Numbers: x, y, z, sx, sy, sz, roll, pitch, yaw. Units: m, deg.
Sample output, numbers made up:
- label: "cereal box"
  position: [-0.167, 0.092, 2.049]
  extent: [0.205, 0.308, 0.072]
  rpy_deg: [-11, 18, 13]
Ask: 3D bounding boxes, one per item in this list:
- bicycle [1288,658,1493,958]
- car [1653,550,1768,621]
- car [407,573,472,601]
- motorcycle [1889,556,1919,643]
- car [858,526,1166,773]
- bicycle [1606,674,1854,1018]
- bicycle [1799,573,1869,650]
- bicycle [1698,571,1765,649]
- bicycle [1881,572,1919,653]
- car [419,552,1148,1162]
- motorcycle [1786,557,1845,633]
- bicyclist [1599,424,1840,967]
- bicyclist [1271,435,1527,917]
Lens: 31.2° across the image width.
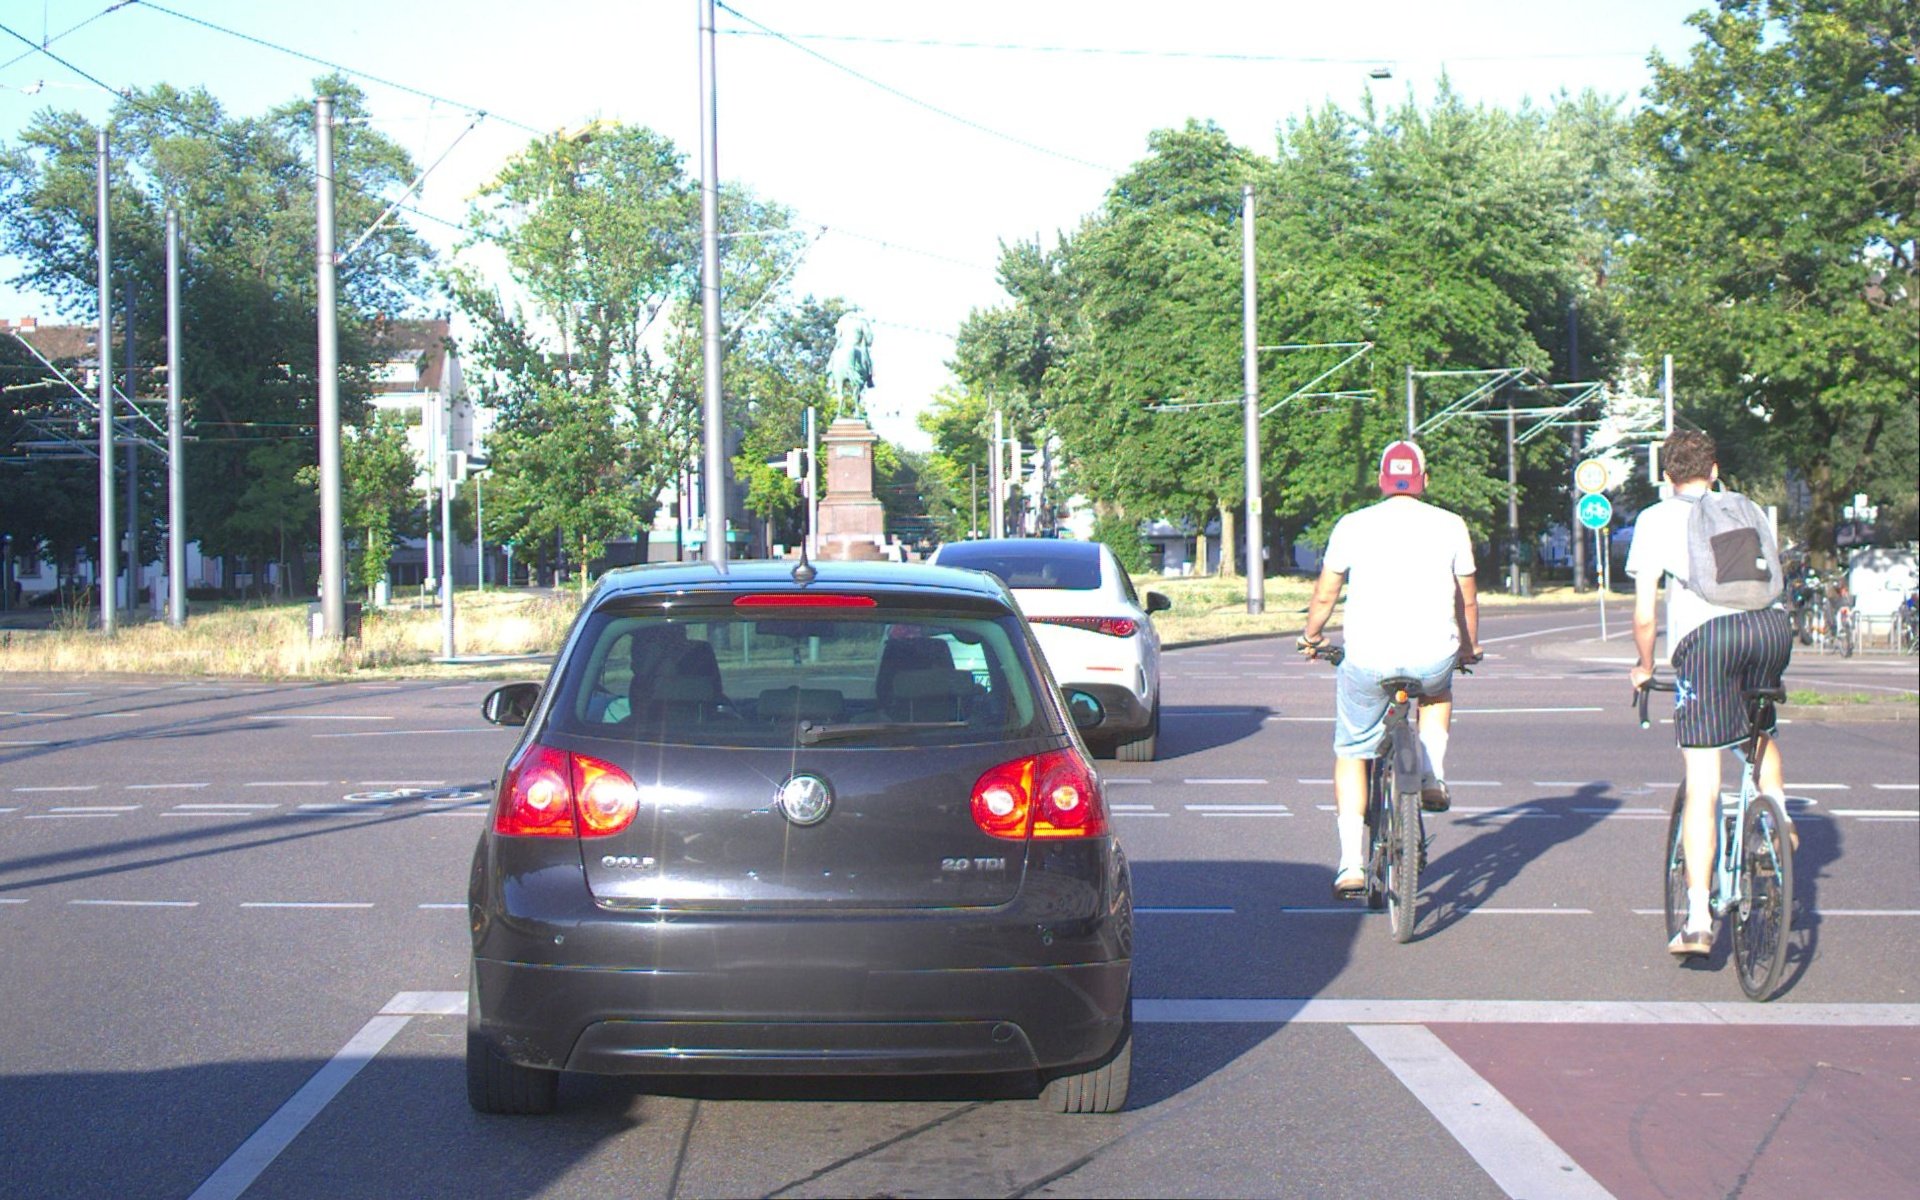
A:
- label: "bicycle"
  position: [1.656, 0.772, 13.463]
  extent: [0.478, 1.024, 1.981]
  rpy_deg: [0, 1, -2]
- label: "car"
  position: [16.746, -0.338, 76.625]
  extent: [1.730, 1.467, 3.894]
  rpy_deg: [-3, 0, 23]
- label: "car"
  position: [-28.437, -0.701, 187.831]
  extent: [3.338, 1.502, 1.659]
  rpy_deg: [-1, 1, -3]
- label: "motorcycle"
  position: [16.275, -0.015, 56.148]
  extent: [2.044, 1.401, 0.760]
  rpy_deg: [0, 1, 8]
- label: "car"
  position: [0.447, 0.268, 23.508]
  extent: [1.865, 1.436, 4.197]
  rpy_deg: [-2, 2, 4]
- label: "bicycle"
  position: [2.619, 0.803, 11.846]
  extent: [0.575, 1.024, 1.856]
  rpy_deg: [0, 1, 5]
- label: "bicycle"
  position: [13.452, 0.165, 52.938]
  extent: [0.645, 1.123, 1.874]
  rpy_deg: [-1, 2, 1]
- label: "bicycle"
  position: [11.869, 0.144, 52.902]
  extent: [0.645, 1.123, 1.874]
  rpy_deg: [-1, 2, 1]
- label: "bicycle"
  position: [14.766, 0.180, 52.920]
  extent: [0.645, 1.154, 2.124]
  rpy_deg: [-1, 2, 1]
- label: "car"
  position: [-0.544, 0.584, 10.310]
  extent: [1.747, 1.456, 4.104]
  rpy_deg: [0, 1, -4]
- label: "motorcycle"
  position: [14.409, -0.098, 57.973]
  extent: [0.666, 1.238, 2.200]
  rpy_deg: [0, 1, 6]
- label: "bicyclist"
  position: [2.618, 0.312, 11.931]
  extent: [0.674, 1.801, 0.994]
  rpy_deg: [0, 1, 4]
- label: "bicyclist"
  position: [1.694, 0.277, 13.406]
  extent: [0.826, 1.801, 1.057]
  rpy_deg: [0, 1, -2]
